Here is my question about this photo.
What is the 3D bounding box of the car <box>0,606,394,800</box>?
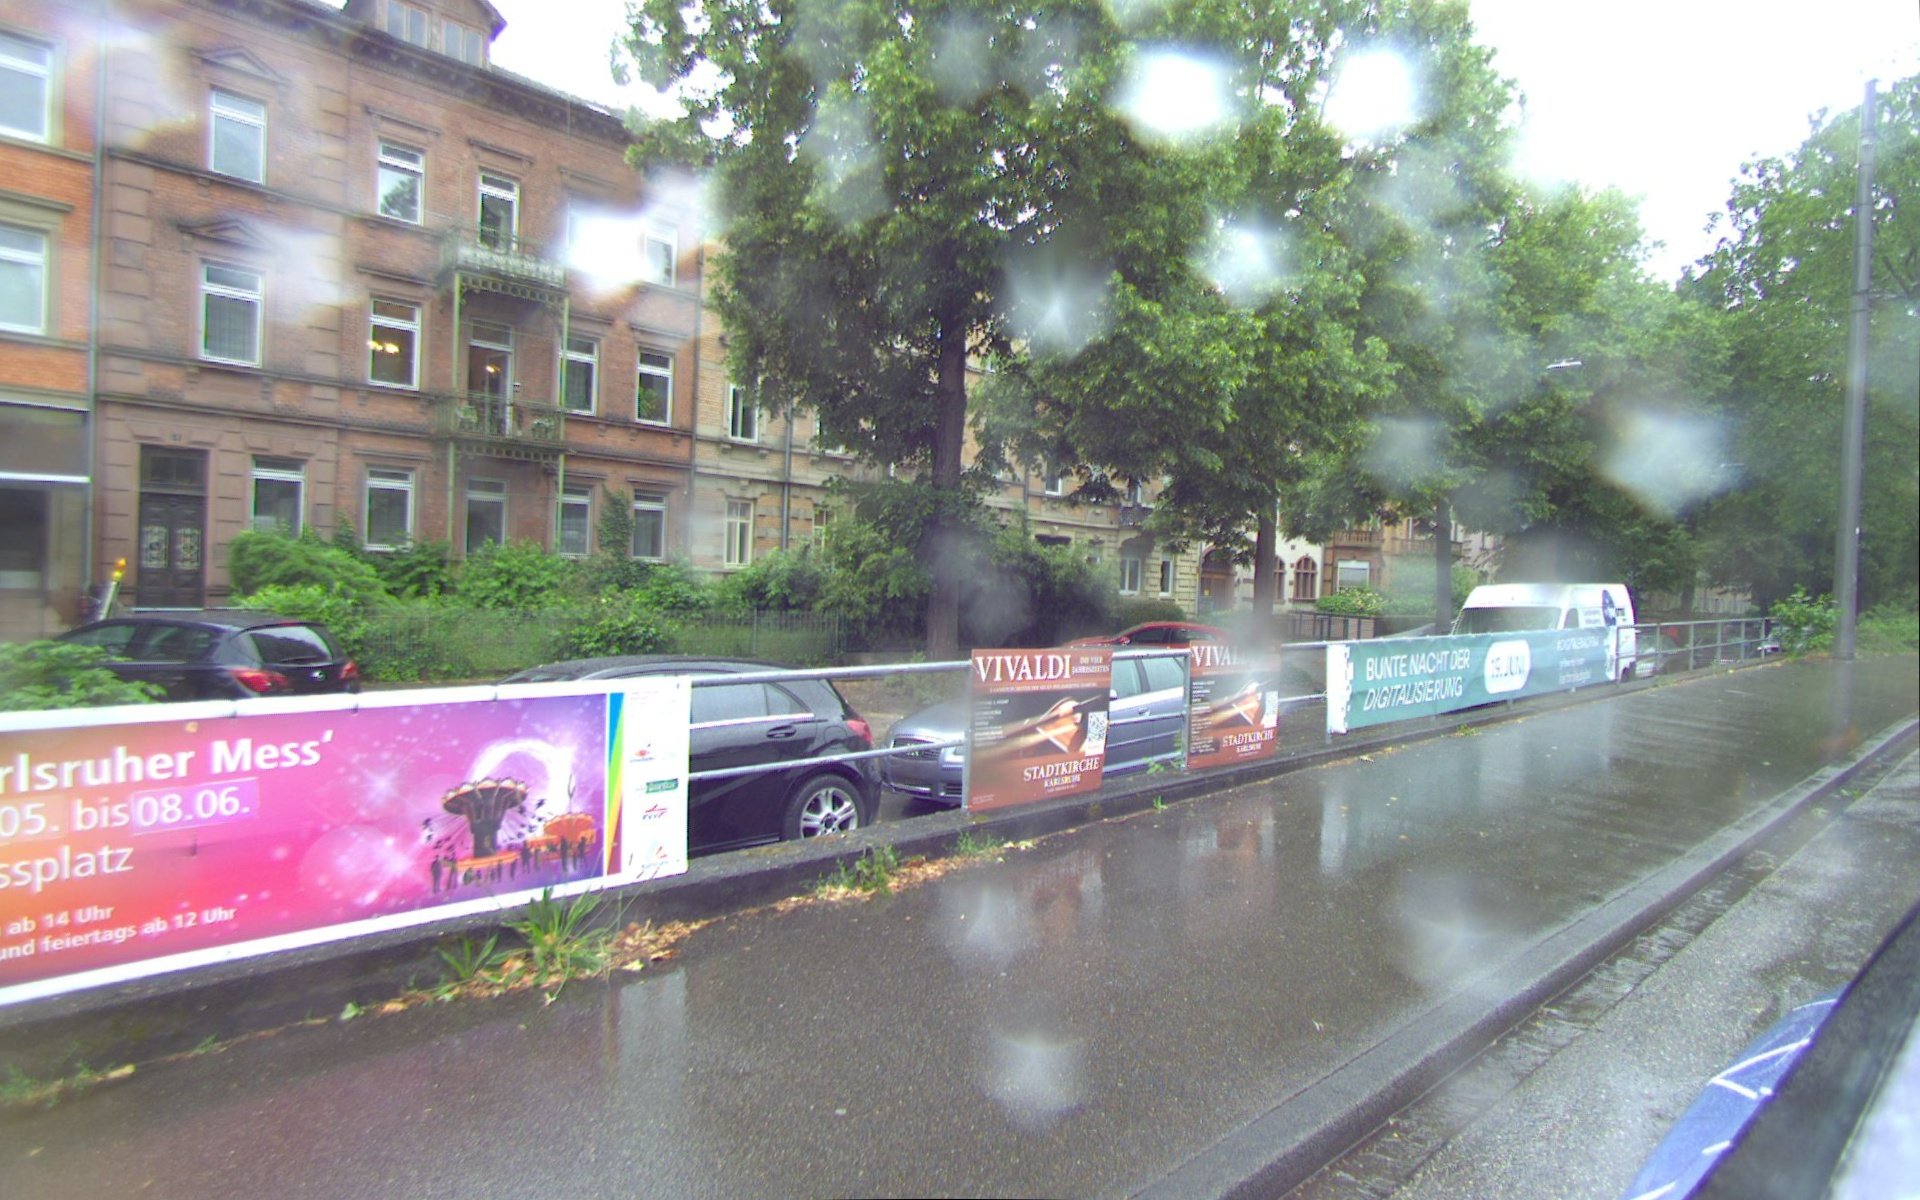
[{"bbox_3d":[-8.517,0.981,11.255,3.958,1.735,1.983,1,1,25],"label":"car"}]

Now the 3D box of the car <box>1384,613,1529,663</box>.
[{"bbox_3d":[16.512,1.237,33.893,4.214,1.397,1.679,2,2,22],"label":"car"}]

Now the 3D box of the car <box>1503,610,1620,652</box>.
[{"bbox_3d":[25.592,1.289,43.174,3.947,1.629,1.815,1,1,19],"label":"car"}]

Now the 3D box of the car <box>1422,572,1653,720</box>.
[{"bbox_3d":[11.366,0.751,19.668,6.055,2.451,2.211,0,0,-43],"label":"car"}]

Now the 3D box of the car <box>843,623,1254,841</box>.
[{"bbox_3d":[0.998,1.060,9.777,4.006,1.559,1.734,0,0,-43],"label":"car"}]

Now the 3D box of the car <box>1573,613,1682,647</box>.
[{"bbox_3d":[32.072,1.427,48.733,3.942,1.482,1.904,1,1,15],"label":"car"}]

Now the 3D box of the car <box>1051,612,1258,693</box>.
[{"bbox_3d":[4.392,1.113,22.732,4.372,1.471,1.888,2,1,18],"label":"car"}]

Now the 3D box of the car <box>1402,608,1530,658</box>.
[{"bbox_3d":[17.912,1.145,36.037,3.958,1.523,1.645,2,2,25],"label":"car"}]

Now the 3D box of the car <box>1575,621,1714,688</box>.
[{"bbox_3d":[16.610,1.244,24.489,4.312,1.370,1.968,0,0,-44],"label":"car"}]

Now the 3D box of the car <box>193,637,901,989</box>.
[{"bbox_3d":[-2.441,1.035,6.522,3.903,1.417,1.706,0,1,-41],"label":"car"}]

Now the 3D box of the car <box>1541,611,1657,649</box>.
[{"bbox_3d":[28.530,1.310,45.314,3.942,1.585,1.991,0,1,15],"label":"car"}]
